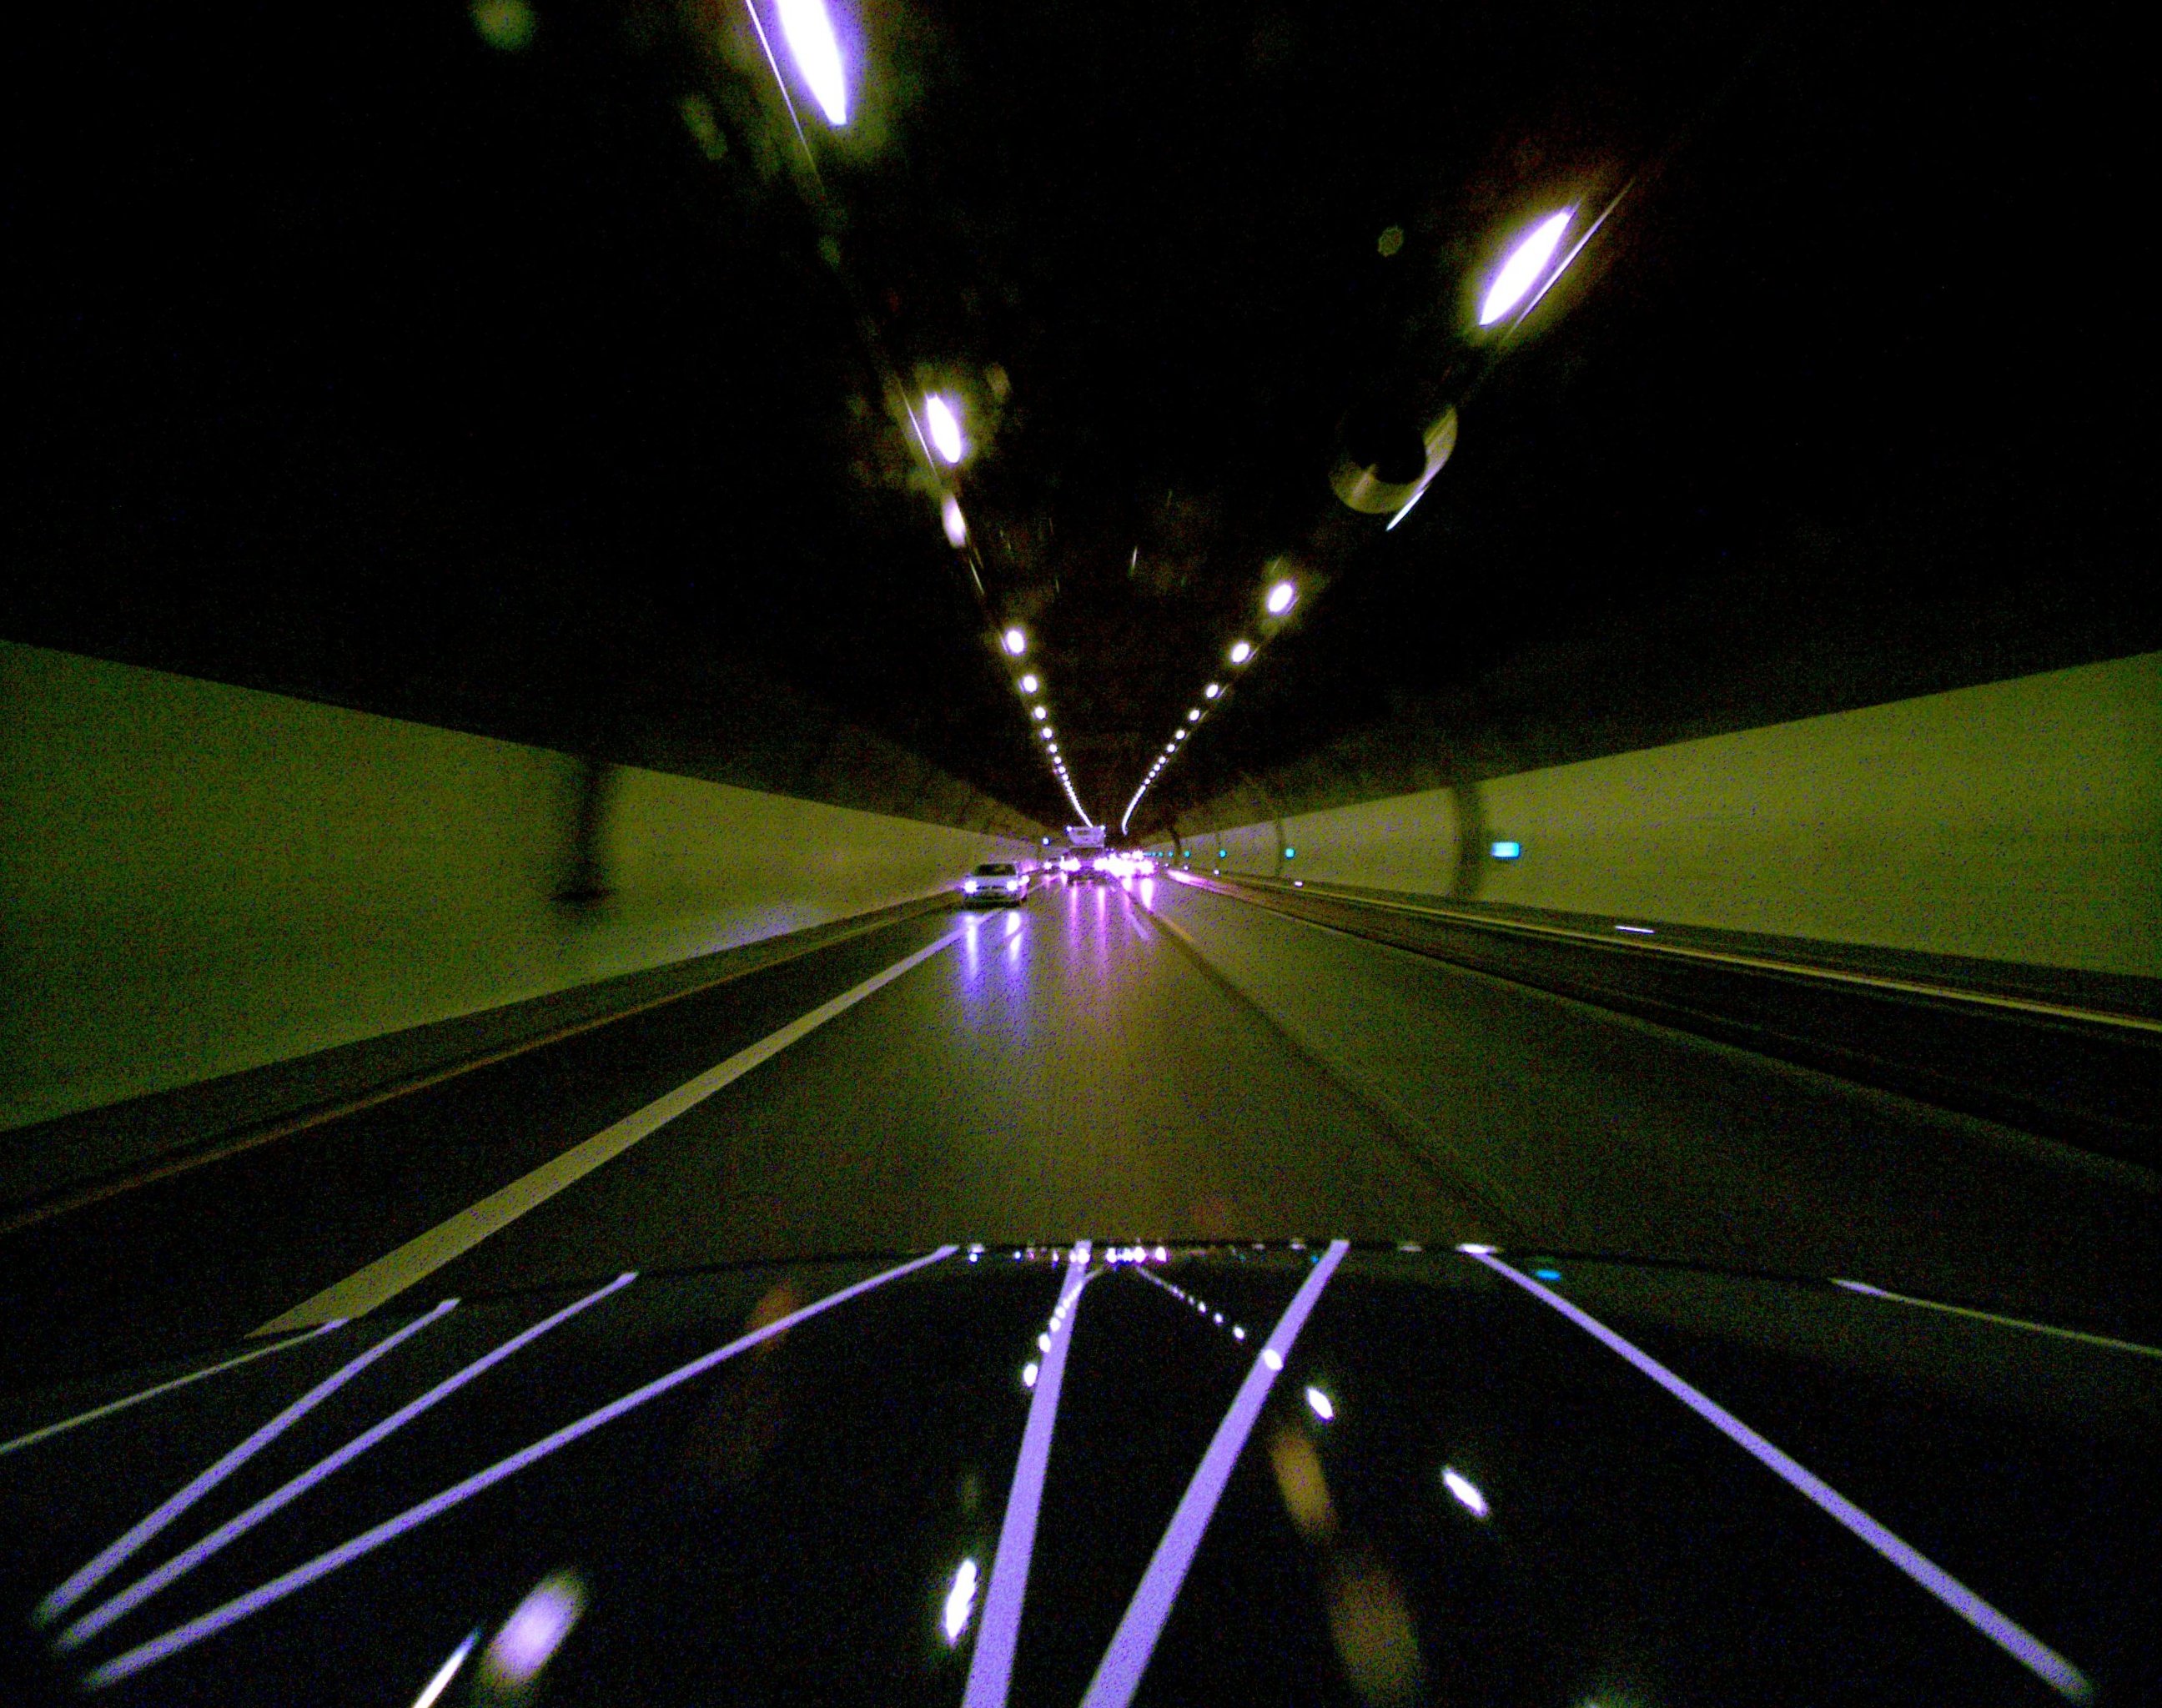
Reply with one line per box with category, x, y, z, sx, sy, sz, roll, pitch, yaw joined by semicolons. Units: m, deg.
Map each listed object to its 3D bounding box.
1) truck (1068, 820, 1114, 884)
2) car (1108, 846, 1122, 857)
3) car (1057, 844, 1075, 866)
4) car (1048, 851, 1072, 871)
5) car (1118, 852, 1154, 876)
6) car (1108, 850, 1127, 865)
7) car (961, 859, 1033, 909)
truck;0.481;-0.153;43.554;2.262;3.238;7.381;-3;1;-1
car;5.607;-0.387;125.193;1.958;1.528;4.756;-6;1;-1
car;-1.934;0.105;98.832;2.124;2.630;6.228;-4;1;-1
car;-1.878;0.579;68.148;1.958;1.528;4.756;-4;1;-1
car;3.659;0.616;51.147;1.908;1.476;4.943;-2;0;-1
car;3.757;0.337;78.606;1.657;1.395;3.656;-3;1;-1
car;-2.702;0.927;25.213;1.801;1.452;4.034;-2;0;1
